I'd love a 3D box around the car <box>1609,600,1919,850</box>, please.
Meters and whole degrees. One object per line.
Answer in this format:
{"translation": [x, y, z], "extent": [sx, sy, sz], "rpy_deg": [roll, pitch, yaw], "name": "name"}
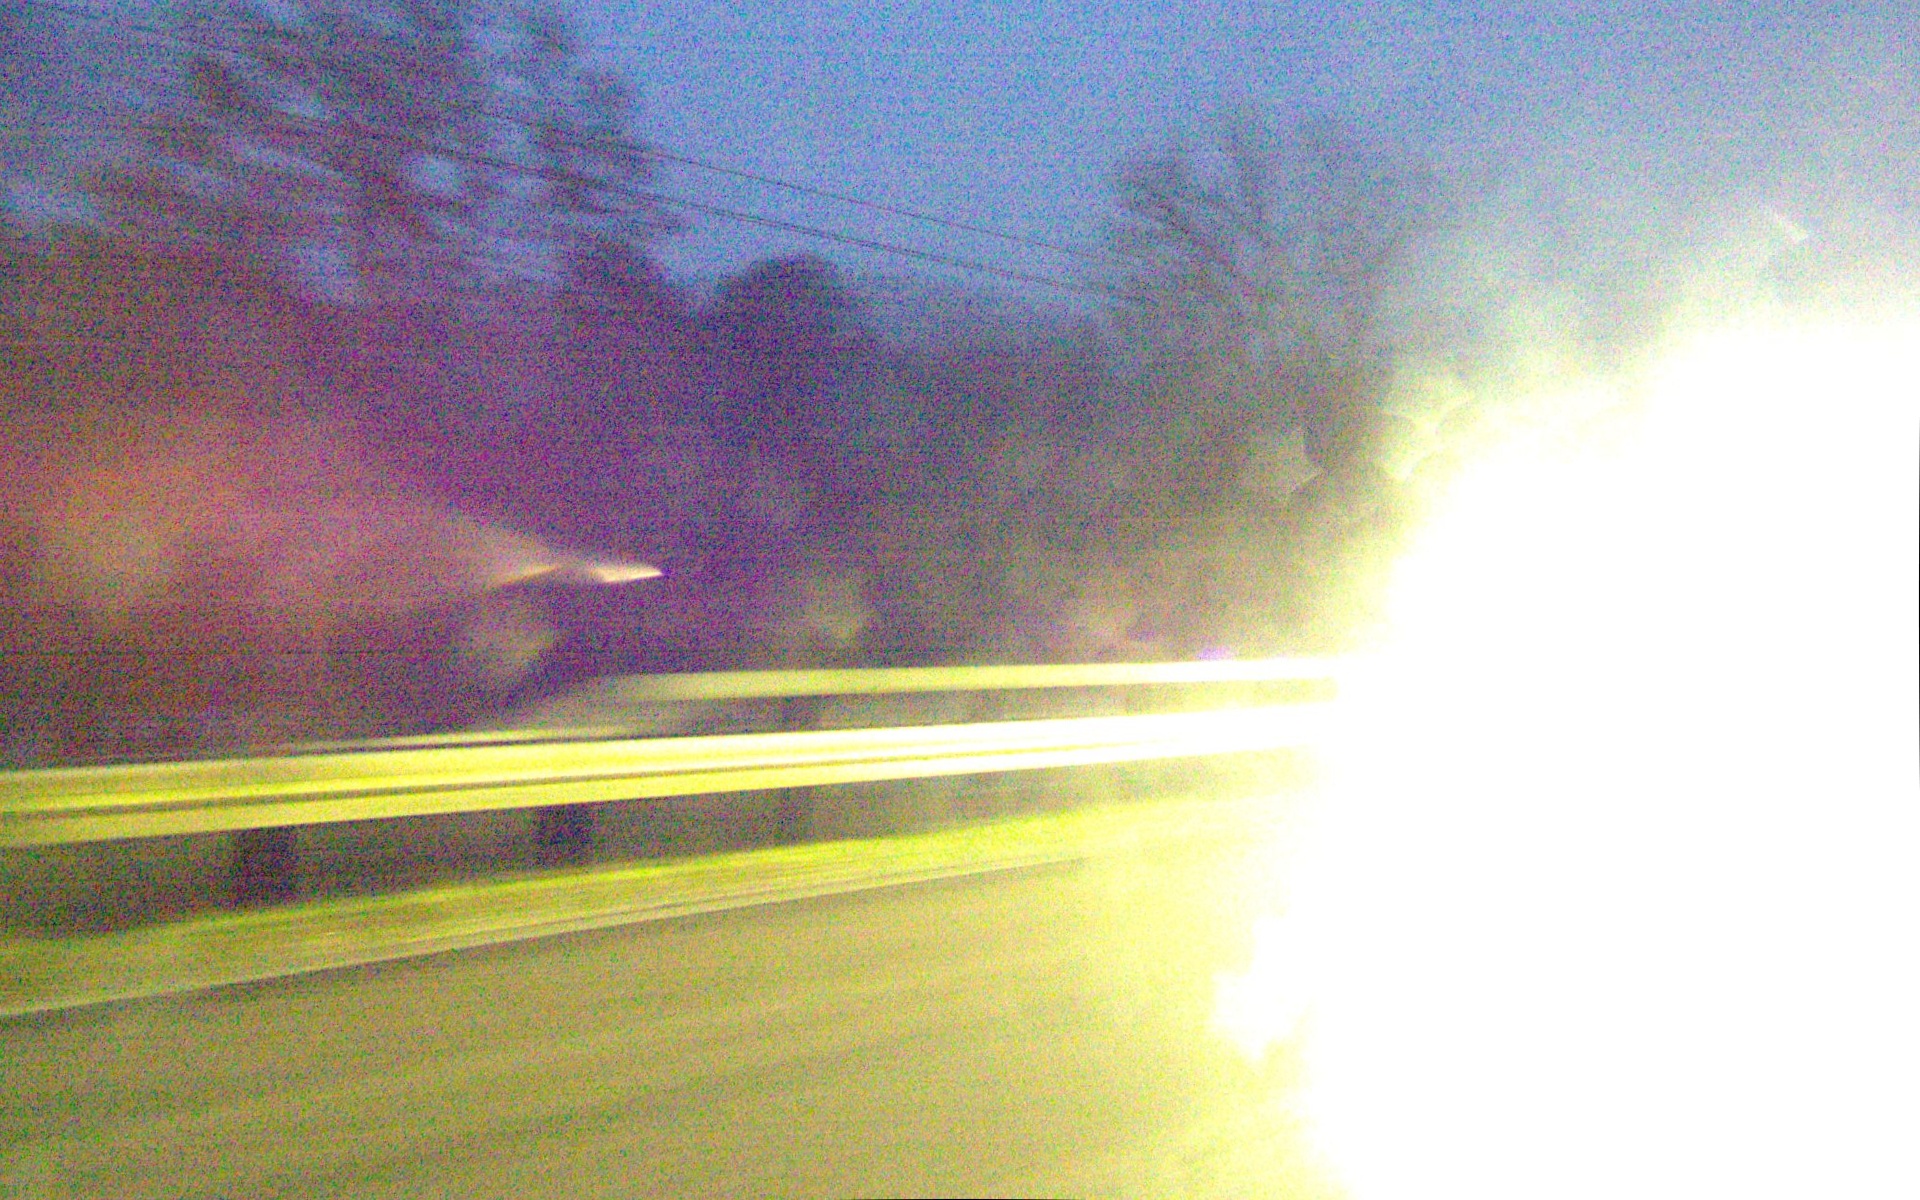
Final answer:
{"translation": [7.115, 0.802, 7.822], "extent": [3.792, 1.492, 1.983], "rpy_deg": [1, 1, -31], "name": "car"}
